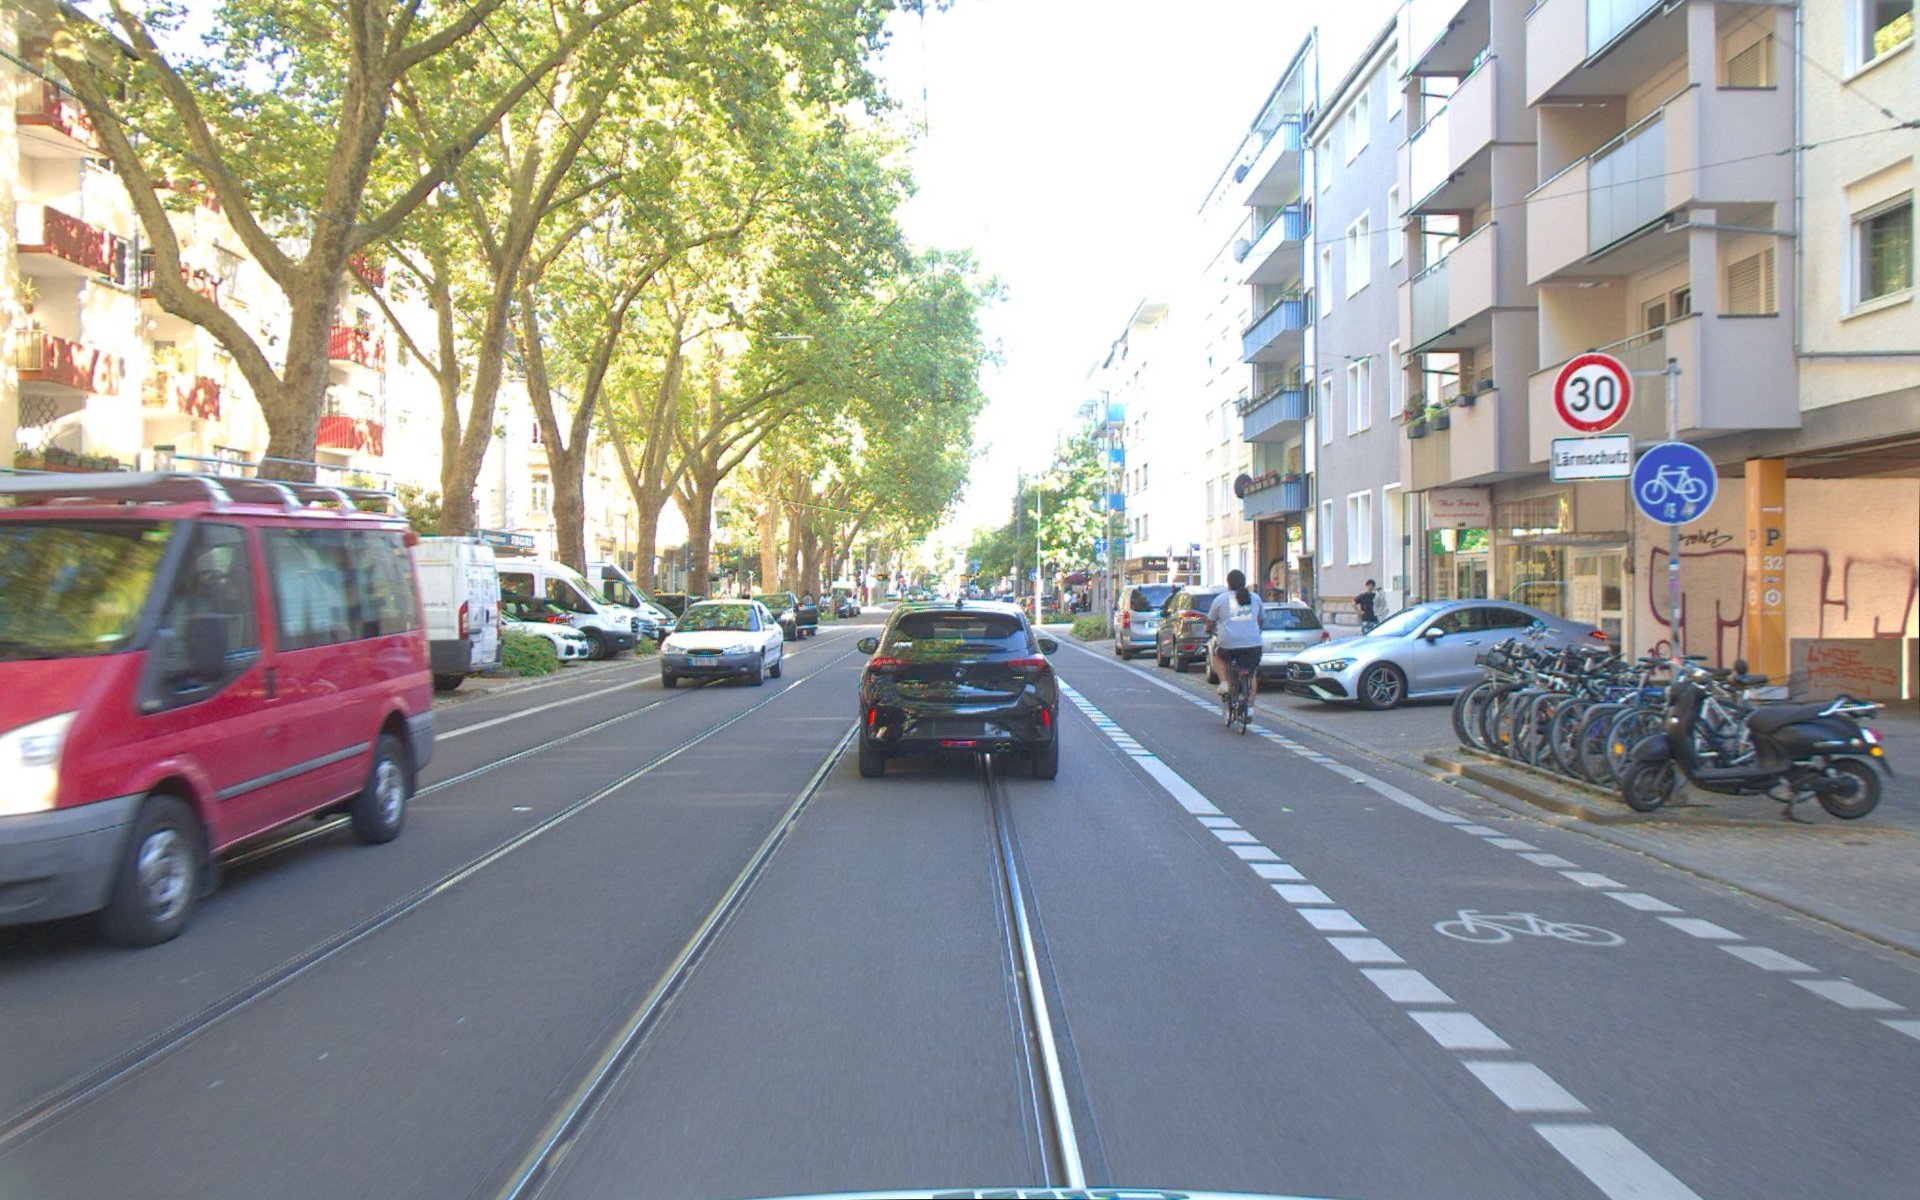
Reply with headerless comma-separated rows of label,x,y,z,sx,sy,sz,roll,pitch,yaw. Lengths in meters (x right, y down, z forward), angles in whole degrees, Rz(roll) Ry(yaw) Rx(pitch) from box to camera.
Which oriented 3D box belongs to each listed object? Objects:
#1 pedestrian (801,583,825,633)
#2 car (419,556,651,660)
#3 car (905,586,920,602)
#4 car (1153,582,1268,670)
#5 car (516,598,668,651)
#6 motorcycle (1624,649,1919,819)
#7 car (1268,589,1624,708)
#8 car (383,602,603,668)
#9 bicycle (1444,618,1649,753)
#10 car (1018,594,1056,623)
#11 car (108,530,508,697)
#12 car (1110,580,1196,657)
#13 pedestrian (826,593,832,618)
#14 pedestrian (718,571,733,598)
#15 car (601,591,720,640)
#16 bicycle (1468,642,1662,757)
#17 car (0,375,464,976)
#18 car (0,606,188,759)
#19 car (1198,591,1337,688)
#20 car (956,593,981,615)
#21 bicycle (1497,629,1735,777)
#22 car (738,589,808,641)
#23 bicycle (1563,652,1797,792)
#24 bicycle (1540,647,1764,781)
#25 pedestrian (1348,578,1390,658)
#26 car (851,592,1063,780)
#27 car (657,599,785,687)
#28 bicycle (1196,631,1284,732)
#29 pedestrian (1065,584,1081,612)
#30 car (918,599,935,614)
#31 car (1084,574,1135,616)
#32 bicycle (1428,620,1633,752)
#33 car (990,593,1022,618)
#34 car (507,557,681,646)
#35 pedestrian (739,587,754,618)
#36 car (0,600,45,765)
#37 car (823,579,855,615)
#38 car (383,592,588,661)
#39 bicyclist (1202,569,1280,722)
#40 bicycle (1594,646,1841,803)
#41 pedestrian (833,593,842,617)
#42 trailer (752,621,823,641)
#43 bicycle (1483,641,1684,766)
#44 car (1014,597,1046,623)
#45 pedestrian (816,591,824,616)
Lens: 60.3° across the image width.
pedestrian,-5.297,0.293,59.563,0.699,1.765,0.910,-2,0,-14
car,-10.588,0.188,41.483,5.250,2.521,2.057,0,0,0
car,-6.890,-0.890,239.279,1.954,2.250,5.098,0,0,-4
car,5.251,0.514,35.183,1.731,1.734,4.282,0,0,-1
car,-10.538,0.686,47.570,3.936,1.491,1.872,0,0,0
motorcycle,5.603,0.909,11.519,1.781,1.099,0.617,-1,0,23
car,6.890,0.649,23.628,4.532,1.462,1.859,-2,0,-12
car,-10.298,0.751,36.722,4.320,1.409,1.933,0,0,-1
bicycle,5.674,0.821,16.035,1.786,1.212,0.457,-2,0,-1
car,4.308,0.478,93.477,1.684,1.601,4.081,0,0,-4
car,-10.473,0.194,26.888,5.623,2.580,2.162,0,0,0
car,5.062,0.447,43.984,1.820,1.923,4.925,0,0,1
pedestrian,-8.686,0.359,109.867,0.339,1.610,0.508,0,0,-2
pedestrian,-14.273,-0.931,100.753,0.830,1.661,0.643,0,0,-6
car,-10.615,0.544,58.757,3.906,1.676,1.893,0,0,-2
bicycle,5.676,0.932,15.552,1.619,0.983,0.457,-2,0,-1
car,-4.337,0.307,8.731,1.878,2.266,4.960,-2,0,0
car,-10.597,0.845,17.574,3.905,1.522,1.830,0,0,0
car,5.236,0.619,28.674,1.689,1.552,4.513,0,0,1
car,0.701,0.309,127.111,1.820,1.680,4.001,0,0,1
bicycle,5.674,0.877,14.370,1.757,1.168,0.704,-2,0,-1
car,-6.644,0.505,59.104,1.953,1.729,4.484,-2,0,0
bicycle,5.671,0.954,13.070,1.619,1.004,0.457,-2,0,-1
bicycle,5.665,0.928,13.582,1.619,1.004,0.457,-2,0,-1
pedestrian,9.120,0.393,36.911,0.741,1.750,0.720,-1,0,-2
car,-0.039,0.678,14.845,1.645,1.447,3.627,1,0,-1
car,-4.017,0.678,28.455,1.683,1.382,4.468,0,0,-2
bicycle,3.360,0.956,20.020,0.687,1.111,1.990,1,0,-1
pedestrian,7.101,-0.117,104.115,0.752,1.779,0.795,0,0,22
car,-3.881,0.705,192.434,1.714,1.680,4.001,0,0,1
car,6.172,-0.214,68.613,1.820,1.680,4.001,0,0,1
bicycle,5.686,0.846,16.517,1.853,1.212,0.457,-2,0,-1
car,3.262,0.381,117.875,1.954,1.668,3.997,0,0,-4
car,-11.059,0.045,50.230,4.845,2.612,2.081,0,0,-4
pedestrian,-13.246,0.141,102.418,0.887,1.901,0.643,0,0,-6
car,-10.552,0.755,14.840,3.715,1.486,1.704,0,0,0
car,-9.155,-0.215,125.584,2.049,2.629,5.996,0,0,-1
car,-11.130,0.606,38.969,4.281,1.566,1.872,0,0,-1
bicyclist,3.363,0.537,19.844,0.770,1.790,0.914,0,0,-1
bicycle,5.682,0.927,12.443,1.619,1.073,0.457,-2,0,-1
pedestrian,-8.116,0.323,109.548,0.496,1.610,0.527,0,0,-1
trailer,-6.647,1.189,64.538,2.116,0.643,6.399,0,0,0
bicycle,5.658,0.931,15.043,1.619,1.038,0.457,-2,0,-1
car,4.176,0.570,99.062,1.683,1.516,3.680,0,0,-2
pedestrian,-9.244,0.222,109.303,0.497,1.610,0.526,0,0,-4
